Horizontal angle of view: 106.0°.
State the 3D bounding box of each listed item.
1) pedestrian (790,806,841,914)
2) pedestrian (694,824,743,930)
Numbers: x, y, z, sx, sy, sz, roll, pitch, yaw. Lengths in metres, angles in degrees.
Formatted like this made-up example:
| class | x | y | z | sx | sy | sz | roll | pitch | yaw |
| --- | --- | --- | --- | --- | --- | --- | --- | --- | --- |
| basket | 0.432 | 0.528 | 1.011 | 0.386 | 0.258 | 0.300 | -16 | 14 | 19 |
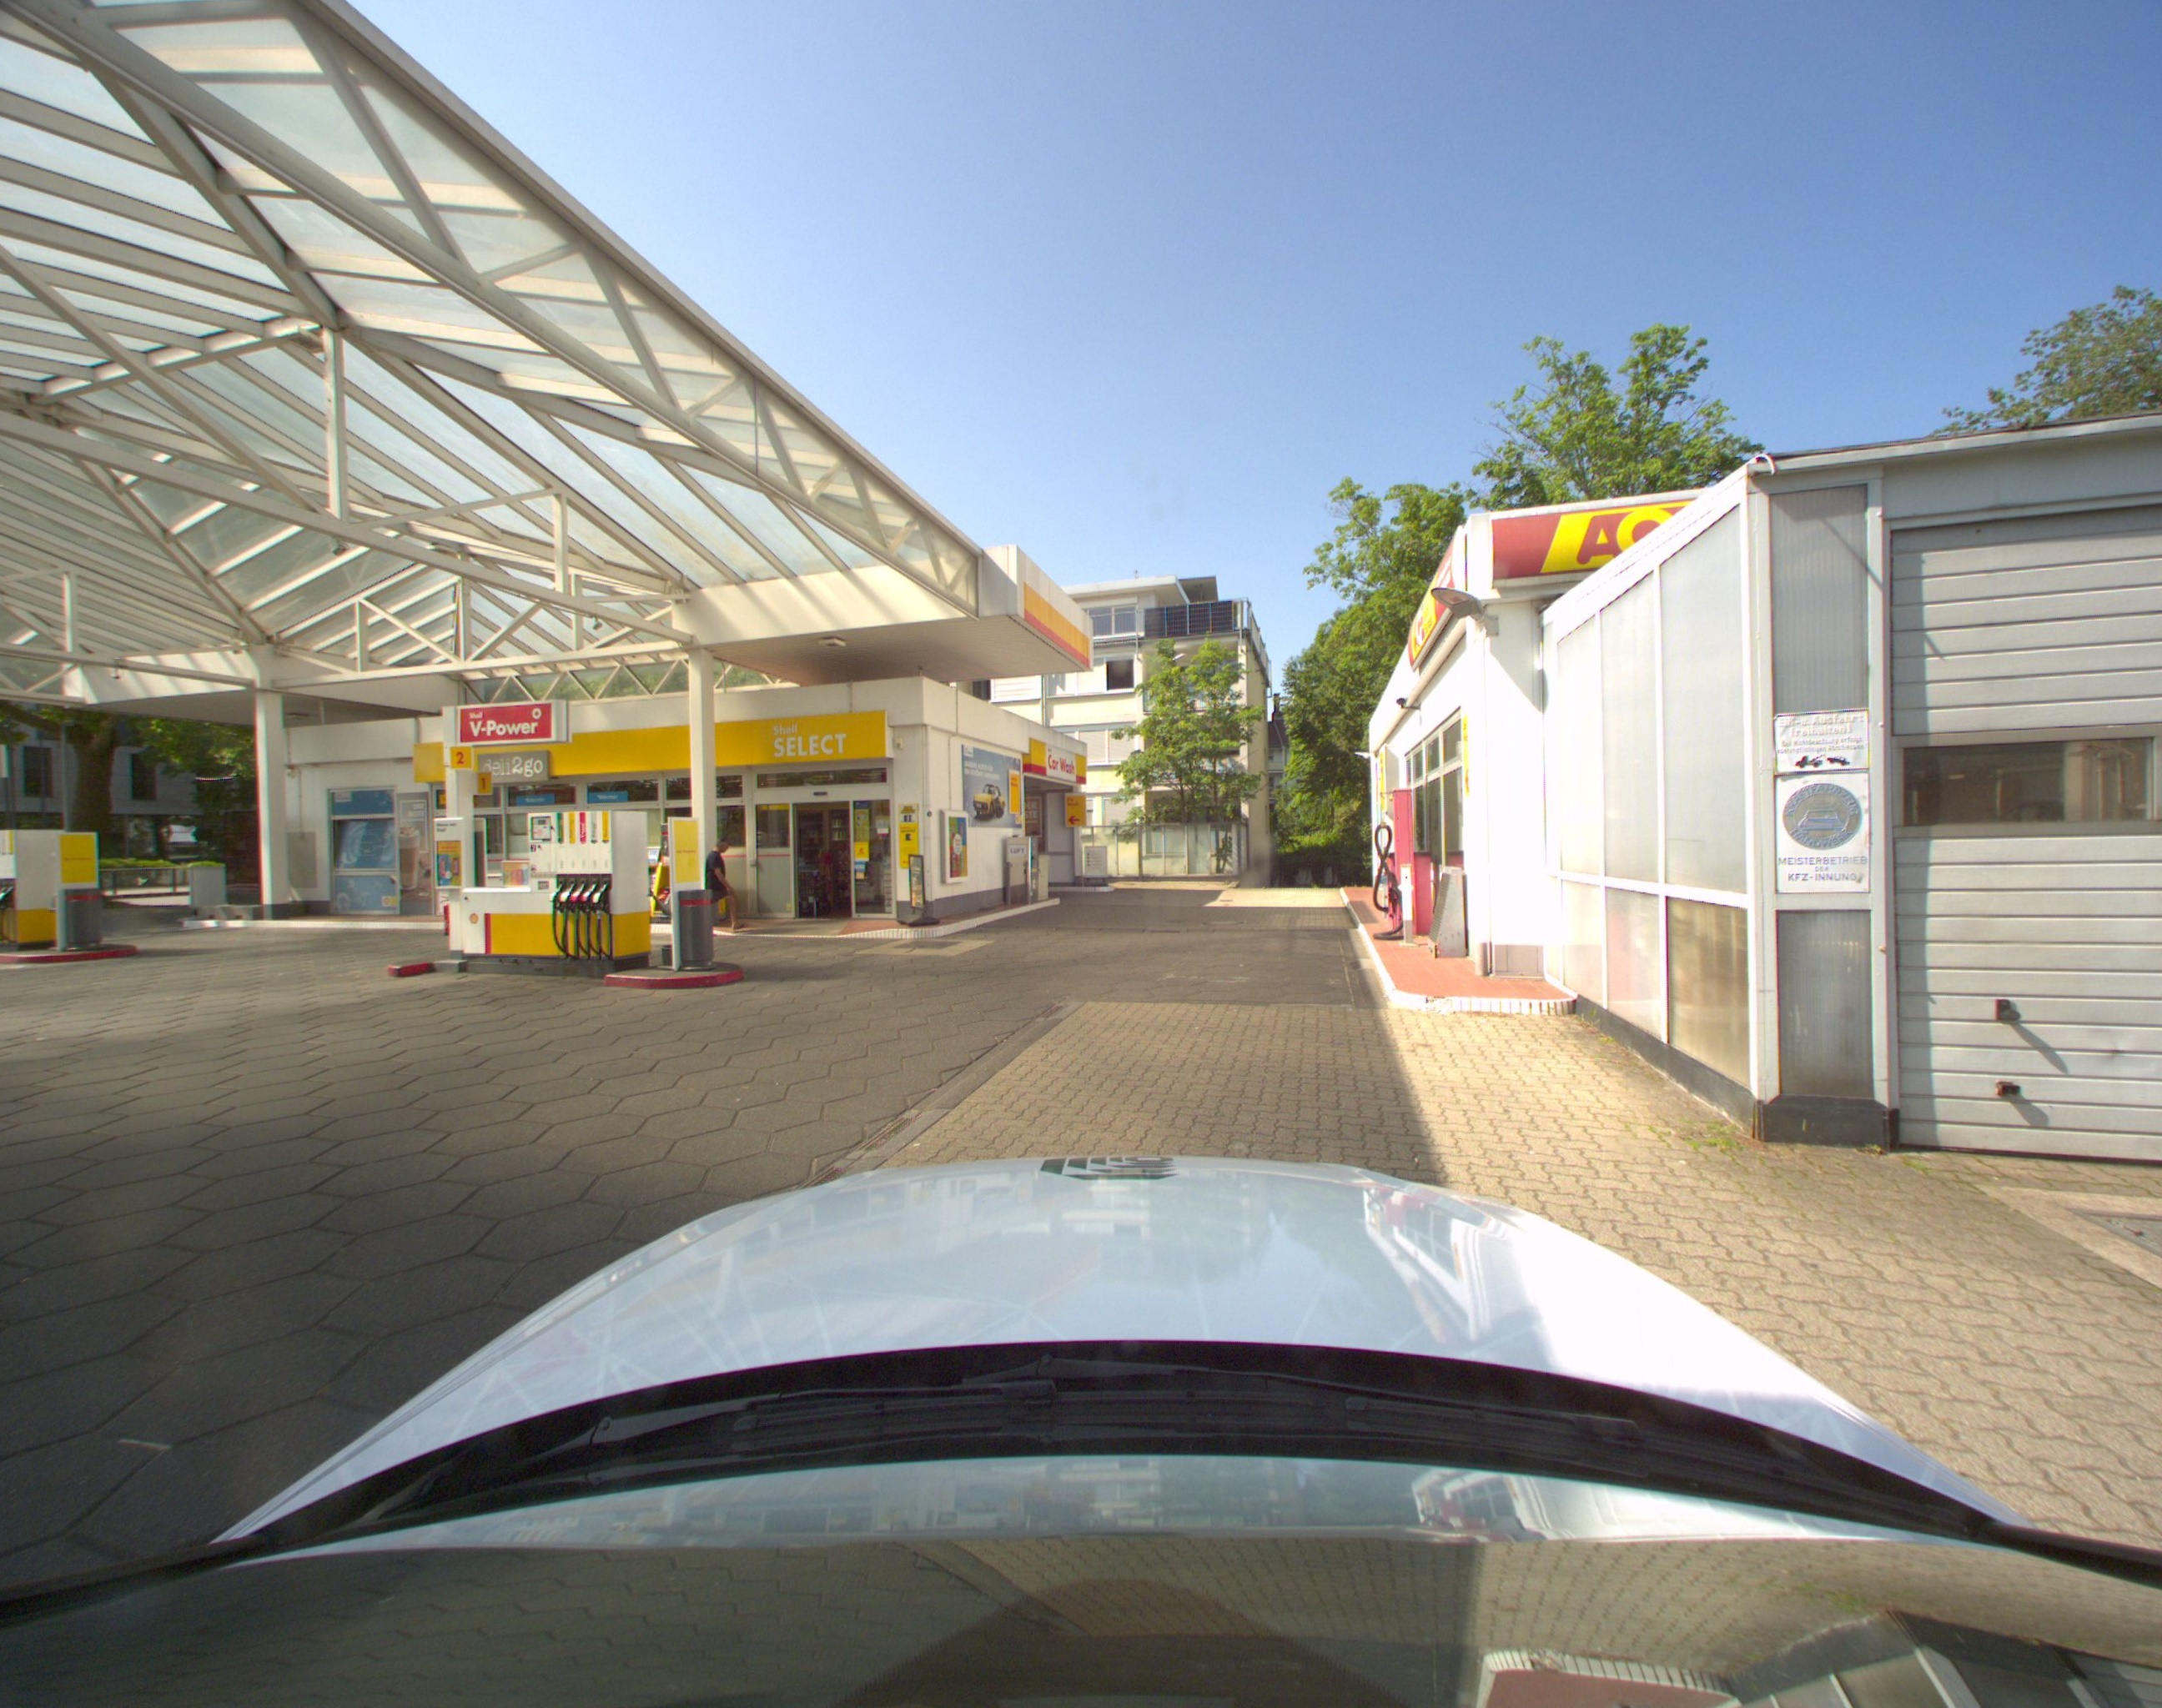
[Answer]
| class | x | y | z | sx | sy | sz | roll | pitch | yaw |
| --- | --- | --- | --- | --- | --- | --- | --- | --- | --- |
| pedestrian | -5.086 | 0.104 | 15.616 | 0.618 | 2.013 | 0.744 | -1 | 1 | 7 |
| pedestrian | -6.198 | 0.378 | 13.943 | 0.570 | 1.761 | 0.529 | -1 | 0 | -5 |
